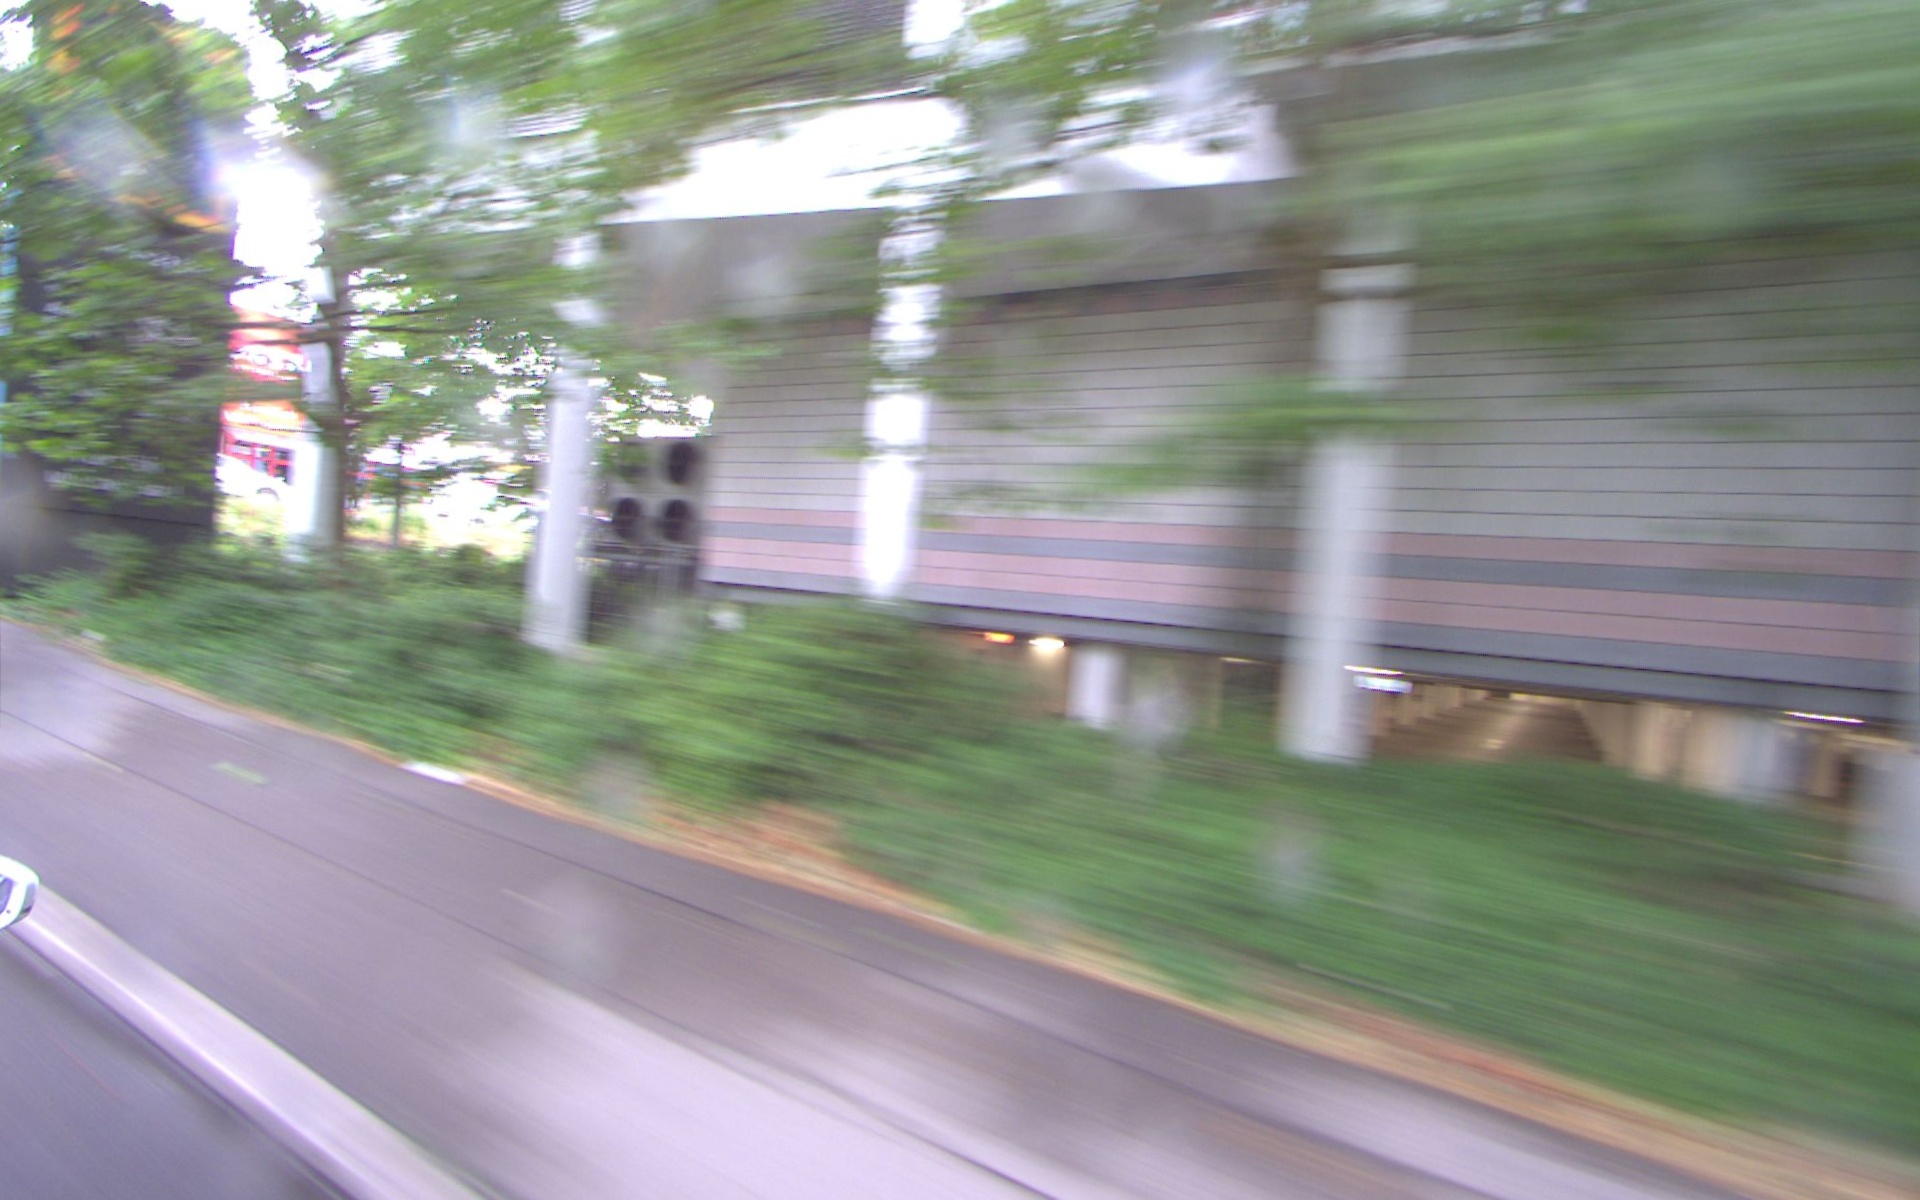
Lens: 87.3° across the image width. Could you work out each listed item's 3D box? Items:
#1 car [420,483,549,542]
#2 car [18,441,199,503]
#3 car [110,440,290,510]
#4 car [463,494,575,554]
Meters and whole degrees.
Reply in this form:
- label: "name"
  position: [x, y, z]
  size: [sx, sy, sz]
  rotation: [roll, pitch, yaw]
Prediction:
- label: "car"
  position: [-20.640, -3.766, 43.874]
  size: [1.882, 1.805, 4.778]
  rotation: [7, 0, 28]
- label: "car"
  position: [-30.639, -4.576, 36.359]
  size: [1.771, 1.350, 4.616]
  rotation: [7, -1, 31]
- label: "car"
  position: [-24.131, -3.933, 32.080]
  size: [1.871, 1.392, 4.108]
  rotation: [7, -2, 31]
- label: "car"
  position: [-18.442, -3.140, 42.236]
  size: [1.632, 1.803, 3.999]
  rotation: [5, -3, 28]
